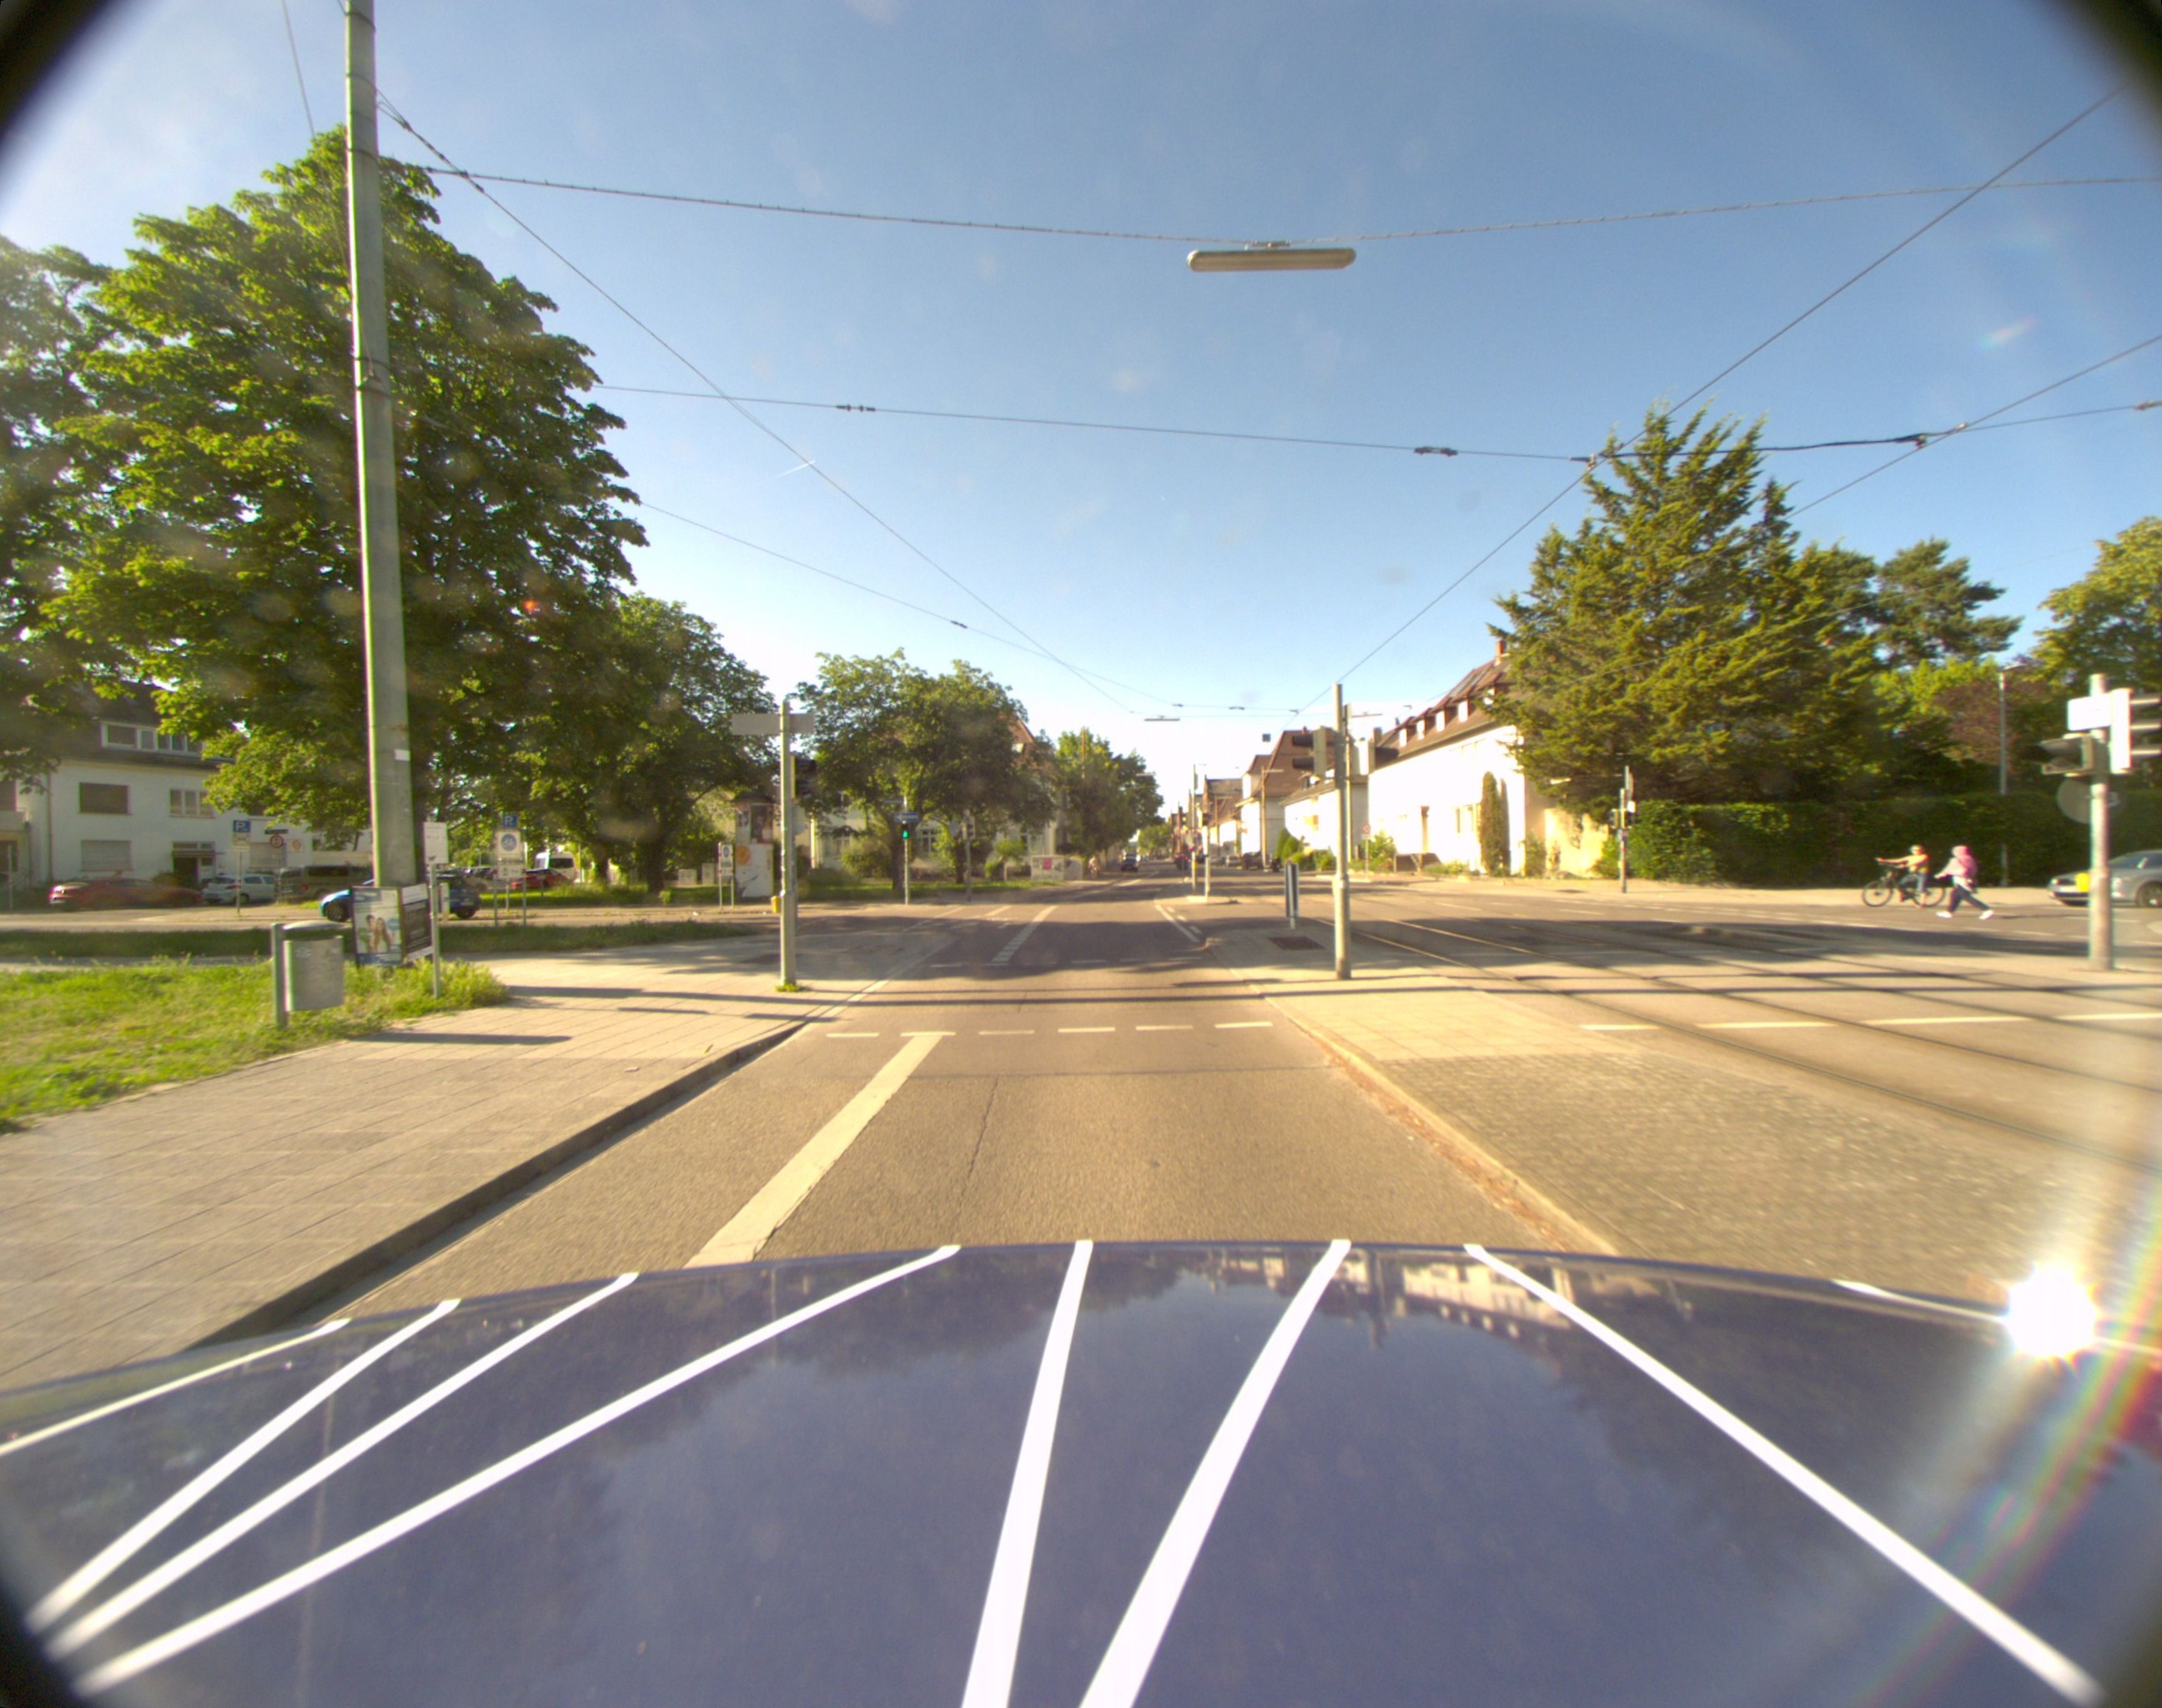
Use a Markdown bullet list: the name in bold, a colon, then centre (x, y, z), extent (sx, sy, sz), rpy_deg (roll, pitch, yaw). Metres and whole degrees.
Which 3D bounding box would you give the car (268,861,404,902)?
- **car**: centre (-35.680, 1.278, 36.560), extent (1.920, 1.825, 4.344), rpy_deg (-1, 0, 8)

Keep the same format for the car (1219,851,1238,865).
- **car**: centre (19.735, 0.483, 101.685), extent (1.923, 1.705, 4.001), rpy_deg (-3, 0, 4)

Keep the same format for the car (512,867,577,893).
- **car**: centre (-34.255, 1.642, 48.635), extent (1.607, 1.525, 4.280), rpy_deg (-1, -1, -7)

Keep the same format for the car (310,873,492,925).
- **car**: centre (-20.926, 1.360, 23.495), extent (3.996, 1.425, 1.816), rpy_deg (-1, 1, 2)

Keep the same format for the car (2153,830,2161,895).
- **car**: centre (32.963, 0.211, 20.790), extent (4.310, 1.856, 1.817), rpy_deg (-1, 0, 6)

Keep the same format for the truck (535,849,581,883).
- **truck**: centre (-40.798, 0.902, 59.204), extent (4.966, 2.561, 2.004), rpy_deg (-1, 1, 45)

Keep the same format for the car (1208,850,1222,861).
- **car**: centre (20.537, 0.157, 116.675), extent (1.923, 1.555, 4.002), rpy_deg (-3, 0, 8)

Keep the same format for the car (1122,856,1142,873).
- **car**: centre (5.321, 1.066, 79.029), extent (1.704, 1.541, 4.003), rpy_deg (-3, 0, 9)

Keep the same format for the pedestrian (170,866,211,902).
- **pedestrian**: centre (-45.361, 1.529, 38.726), extent (1.023, 1.759, 0.901), rpy_deg (-3, 0, 11)

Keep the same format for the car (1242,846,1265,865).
- **car**: centre (18.386, 0.145, 81.038), extent (1.923, 1.890, 4.002), rpy_deg (-3, 0, 6)

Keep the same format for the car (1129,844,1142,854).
- **car**: centre (8.537, -0.778, 119.137), extent (1.704, 1.541, 4.003), rpy_deg (-3, 0, 9)

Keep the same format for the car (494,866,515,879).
- **car**: centre (-68.031, 2.209, 89.651), extent (1.763, 1.462, 3.886), rpy_deg (-1, 0, -40)

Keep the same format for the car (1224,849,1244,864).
- **car**: centre (19.224, 0.334, 95.608), extent (1.923, 1.705, 4.001), rpy_deg (-3, 0, 5)

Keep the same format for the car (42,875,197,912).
- **car**: centre (-42.522, 1.709, 33.745), extent (1.757, 1.462, 3.898), rpy_deg (-1, 0, 6)

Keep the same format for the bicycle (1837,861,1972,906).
- **bicycle**: centre (21.441, 0.763, 19.841), extent (2.283, 1.111, 0.931), rpy_deg (-1, 0, 12)

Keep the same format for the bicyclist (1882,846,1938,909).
- **bicyclist**: centre (21.593, 0.595, 19.805), extent (0.559, 1.613, 0.899), rpy_deg (-1, 1, 12)

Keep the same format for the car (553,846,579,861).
- **car**: centre (-53.014, -0.016, 78.138), extent (1.763, 1.462, 3.886), rpy_deg (-1, 0, -40)

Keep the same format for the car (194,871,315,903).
- **car**: centre (-42.157, 1.667, 38.900), extent (1.757, 1.462, 3.898), rpy_deg (-1, 0, 6)

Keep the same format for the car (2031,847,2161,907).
- **car**: centre (26.787, 0.535, 18.746), extent (3.994, 1.425, 1.818), rpy_deg (-1, 0, 10)

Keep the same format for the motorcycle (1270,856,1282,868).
- **motorcycle**: centre (16.906, 0.670, 65.972), extent (0.605, 1.040, 2.438), rpy_deg (-3, 0, 6)

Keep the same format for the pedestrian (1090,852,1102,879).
- **pedestrian**: centre (0.968, 0.737, 48.603), extent (0.654, 1.664, 0.943), rpy_deg (0, 0, 6)

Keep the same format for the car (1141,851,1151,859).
- **car**: centre (14.817, 0.285, 172.809), extent (1.923, 1.705, 4.002), rpy_deg (-3, 0, 6)

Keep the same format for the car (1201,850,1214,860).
- **car**: centre (21.944, 0.176, 131.615), extent (1.923, 1.704, 4.002), rpy_deg (-3, 0, 5)

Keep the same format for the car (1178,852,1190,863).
- **car**: centre (17.511, 0.564, 128.847), extent (1.923, 1.705, 4.002), rpy_deg (-3, 0, 8)

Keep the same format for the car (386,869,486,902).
- **car**: centre (-35.082, 1.707, 41.451), extent (1.920, 1.638, 3.717), rpy_deg (-1, 0, 13)

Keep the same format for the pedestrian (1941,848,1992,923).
- **pedestrian**: centre (18.986, 0.663, 16.296), extent (0.680, 1.547, 0.622), rpy_deg (-3, 0, -45)
